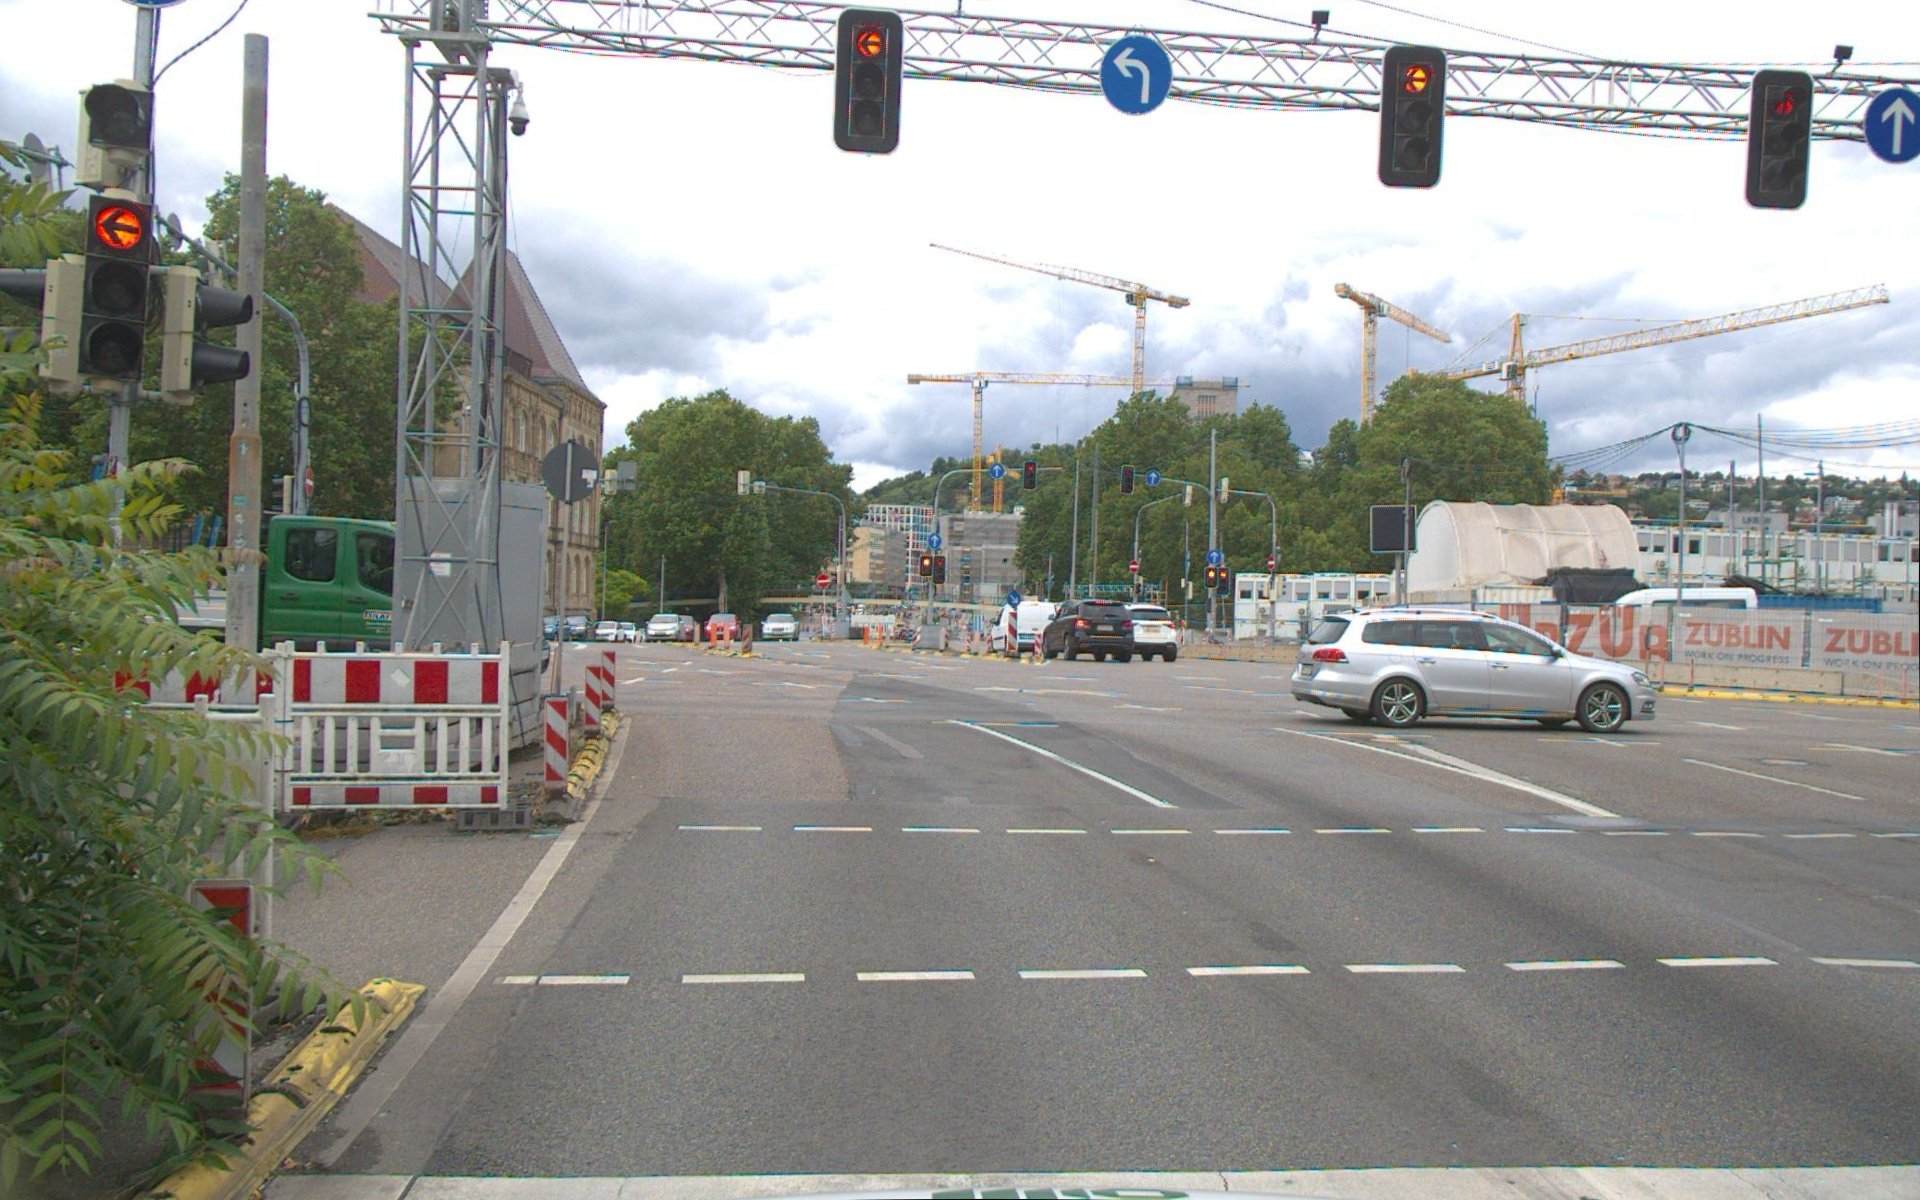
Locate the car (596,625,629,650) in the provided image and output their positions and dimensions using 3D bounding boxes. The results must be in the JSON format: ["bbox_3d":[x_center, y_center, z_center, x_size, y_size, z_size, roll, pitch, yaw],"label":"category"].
[{"bbox_3d":[-21.171,2.253,100.920,1.644,1.422,3.677,1,0,-7],"label":"car"}]

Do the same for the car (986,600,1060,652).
[{"bbox_3d":[2.082,0.852,55.553,1.783,1.653,3.993,1,0,-8],"label":"car"}]

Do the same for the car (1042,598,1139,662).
[{"bbox_3d":[3.780,0.841,48.532,1.799,1.776,4.245,1,0,-10],"label":"car"}]

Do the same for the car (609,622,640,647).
[{"bbox_3d":[-21.926,2.255,108.170,1.644,1.423,3.676,0,-4,-7],"label":"car"}]

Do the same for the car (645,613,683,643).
[{"bbox_3d":[-15.256,1.429,85.380,1.644,1.422,3.677,1,0,-7],"label":"car"}]

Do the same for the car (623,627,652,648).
[{"bbox_3d":[-22.442,2.601,115.162,1.644,1.422,3.677,1,0,-7],"label":"car"}]

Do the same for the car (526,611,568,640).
[{"bbox_3d":[-21.478,1.325,86.145,1.644,1.422,3.677,1,0,-7],"label":"car"}]

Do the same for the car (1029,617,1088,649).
[{"bbox_3d":[4.511,1.511,76.041,1.650,1.422,3.070,1,0,-19],"label":"car"}]

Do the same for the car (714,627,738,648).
[{"bbox_3d":[-17.034,2.719,120.563,1.644,1.422,3.677,1,0,-7],"label":"car"}]

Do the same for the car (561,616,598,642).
[{"bbox_3d":[-21.293,1.610,92.636,1.644,1.422,3.677,1,0,-7],"label":"car"}]

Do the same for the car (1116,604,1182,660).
[{"bbox_3d":[6.042,0.997,53.131,1.642,1.732,3.374,1,0,-1],"label":"car"}]

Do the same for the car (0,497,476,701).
[{"bbox_3d":[-9.241,0.003,20.799,5.647,2.345,2.301,1,0,-6],"label":"car"}]

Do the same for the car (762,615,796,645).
[{"bbox_3d":[-9.292,1.529,84.859,1.644,1.422,3.677,1,0,-7],"label":"car"}]

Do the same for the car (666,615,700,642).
[{"bbox_3d":[-15.297,1.557,91.539,1.644,1.422,3.677,1,0,-7],"label":"car"}]

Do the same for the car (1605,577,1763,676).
[{"bbox_3d":[20.825,0.743,47.686,3.902,2.708,1.683,1,0,13],"label":"car"}]

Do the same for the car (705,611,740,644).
[{"bbox_3d":[-12.124,1.386,84.519,1.644,1.608,3.677,1,0,-7],"label":"car"}]

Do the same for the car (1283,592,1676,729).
[{"bbox_3d":[6.720,0.768,21.646,4.616,1.653,1.680,1,0,-3],"label":"car"}]

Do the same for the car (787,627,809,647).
[{"bbox_3d":[-12.409,2.825,126.516,1.644,1.422,3.677,1,0,-7],"label":"car"}]
